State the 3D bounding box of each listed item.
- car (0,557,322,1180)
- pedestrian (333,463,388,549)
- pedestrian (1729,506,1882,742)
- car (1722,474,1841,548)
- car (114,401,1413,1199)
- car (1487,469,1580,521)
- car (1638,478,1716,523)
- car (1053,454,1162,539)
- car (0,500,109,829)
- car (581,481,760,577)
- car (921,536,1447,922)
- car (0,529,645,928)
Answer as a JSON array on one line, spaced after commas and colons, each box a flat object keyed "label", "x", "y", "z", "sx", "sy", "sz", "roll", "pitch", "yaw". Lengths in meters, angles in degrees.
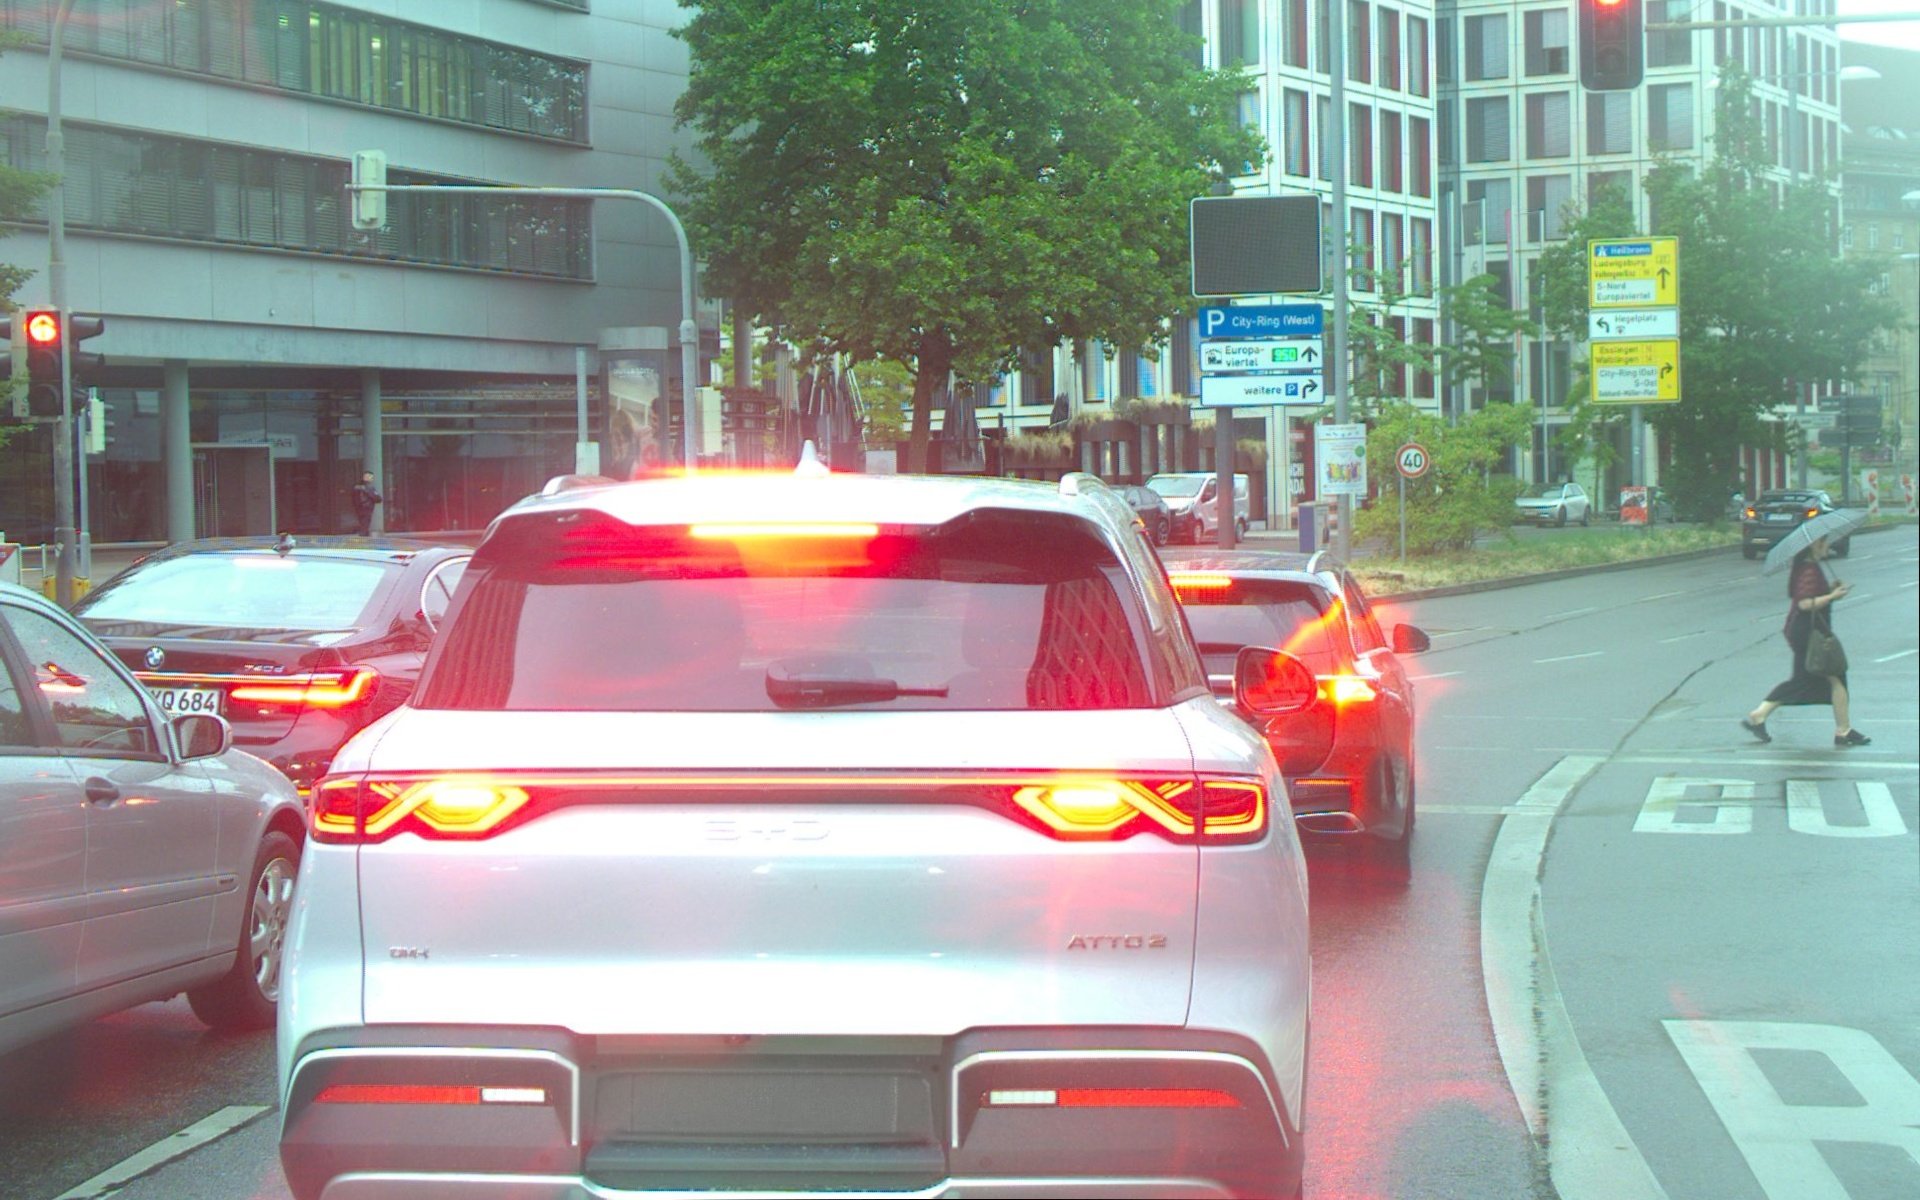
[{"label": "car", "x": -3.111, "y": 0.657, "z": 8.984, "sx": 1.682, "sy": 1.481, "sz": 4.196, "roll": 0, "pitch": 1, "yaw": 6}, {"label": "pedestrian", "x": -12.215, "y": -1.909, "z": 70.028, "sx": 0.728, "sy": 1.721, "sz": 0.924, "roll": 0, "pitch": 1, "yaw": 21}, {"label": "pedestrian", "x": 6.291, "y": 0.168, "z": 25.607, "sx": 0.921, "sy": 1.732, "sz": 0.730, "roll": 0, "pitch": 1, "yaw": -5}, {"label": "car", "x": 18.022, "y": -1.948, "z": 75.342, "sx": 1.996, "sy": 1.546, "sz": 3.996, "roll": 2, "pitch": 2, "yaw": 21}, {"label": "car", "x": -0.245, "y": 0.507, "z": 7.603, "sx": 1.993, "sy": 1.703, "sz": 4.483, "roll": -2, "pitch": 2, "yaw": 2}, {"label": "car", "x": 19.968, "y": -3.664, "z": 119.531, "sx": 1.996, "sy": 1.700, "sz": 4.303, "roll": 1, "pitch": 3, "yaw": 27}, {"label": "car", "x": 28.856, "y": -4.007, "z": 138.301, "sx": 1.996, "sy": 1.700, "sz": 4.303, "roll": 1, "pitch": 3, "yaw": 27}, {"label": "car", "x": 3.906, "y": -2.698, "z": 90.426, "sx": 1.739, "sy": 2.154, "sz": 4.490, "roll": 1, "pitch": 1, "yaw": 18}, {"label": "car", "x": -5.727, "y": 0.321, "z": 16.034, "sx": 1.886, "sy": 1.590, "sz": 3.998, "roll": 0, "pitch": 1, "yaw": 12}, {"label": "car", "x": -5.503, "y": -1.391, "z": 65.838, "sx": 1.995, "sy": 1.700, "sz": 3.997, "roll": 1, "pitch": 3, "yaw": 19}, {"label": "car", "x": 1.170, "y": 0.477, "z": 15.901, "sx": 1.956, "sy": 1.525, "sz": 3.998, "roll": 0, "pitch": 1, "yaw": 11}, {"label": "car", "x": -2.903, "y": 0.452, "z": 15.401, "sx": 1.956, "sy": 1.525, "sz": 3.998, "roll": 0, "pitch": 1, "yaw": 11}]
